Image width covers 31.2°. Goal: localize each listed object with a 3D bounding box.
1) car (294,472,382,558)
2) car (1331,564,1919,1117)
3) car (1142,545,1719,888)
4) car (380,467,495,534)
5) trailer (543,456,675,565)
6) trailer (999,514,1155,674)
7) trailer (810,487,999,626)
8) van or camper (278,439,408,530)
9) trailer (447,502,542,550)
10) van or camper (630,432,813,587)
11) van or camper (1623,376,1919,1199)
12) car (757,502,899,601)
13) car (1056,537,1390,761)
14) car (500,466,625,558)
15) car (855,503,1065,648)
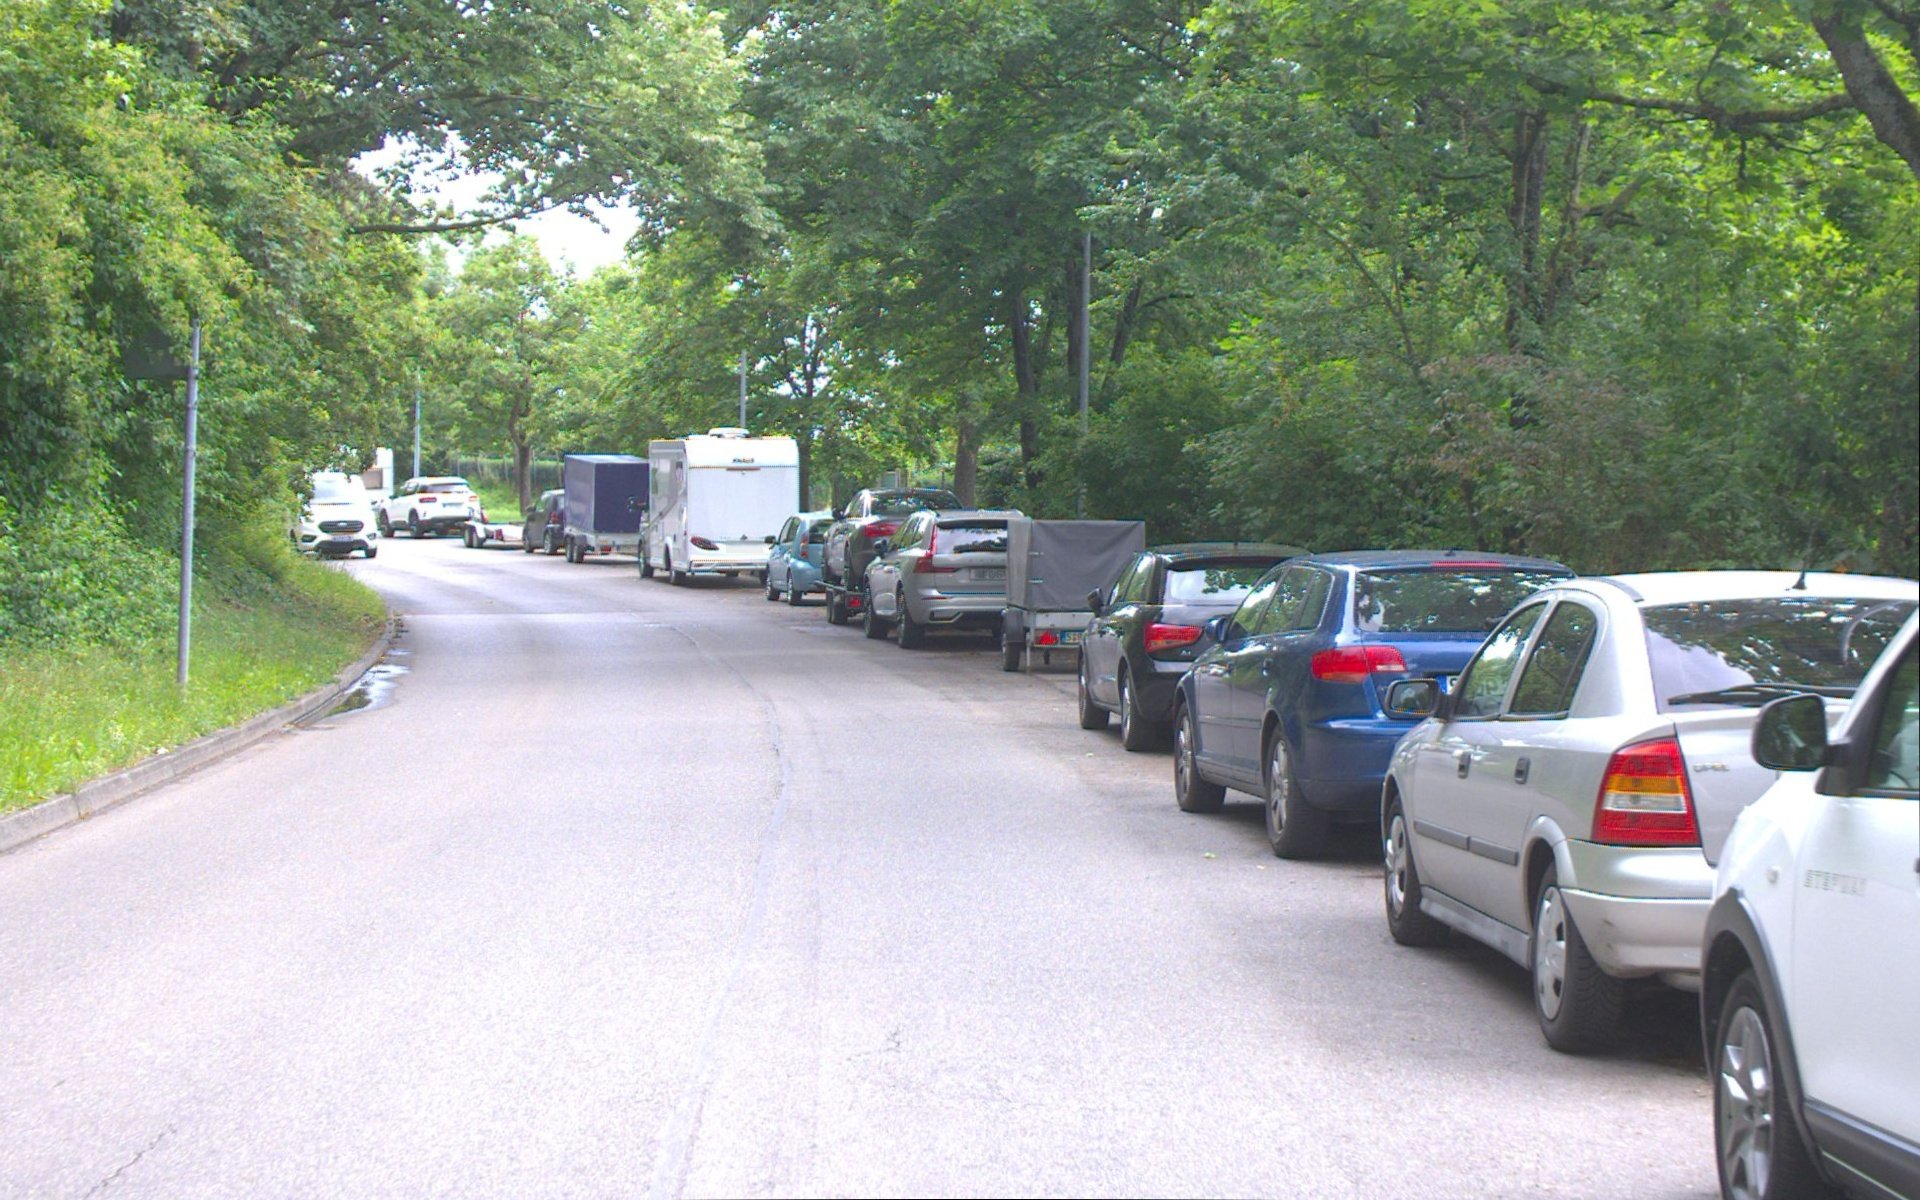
[{"bbox_3d":[-14.945,-2.061,82.749,1.947,1.977,4.503,1,2,-9],"label":"car"},{"bbox_3d":[2.492,0.658,11.609,1.812,1.432,4.243,2,1,-2],"label":"car"},{"bbox_3d":[2.221,0.487,17.531,1.847,1.469,4.480,1,1,-6],"label":"car"},{"bbox_3d":[-14.584,-2.784,95.779,2.034,1.797,4.084,-1,2,-26],"label":"car"},{"bbox_3d":[-7.991,-2.035,77.930,1.993,2.390,4.001,0,2,-21],"label":"trailer"},{"bbox_3d":[1.192,-0.085,35.796,1.278,1.579,2.461,1,1,-5],"label":"trailer"},{"bbox_3d":[-0.847,-0.661,48.192,1.978,1.805,5.150,0,2,-8],"label":"trailer"},{"bbox_3d":[-18.617,-3.510,103.523,2.526,2.688,4.576,-1,3,-28],"label":"van or camper"},{"bbox_3d":[-11.790,-1.877,86.901,1.651,1.083,4.002,-2,3,-18],"label":"trailer"},{"bbox_3d":[-4.772,-1.781,67.647,2.481,2.866,6.892,1,2,-13],"label":"van or camper"},{"bbox_3d":[2.532,0.548,5.925,1.802,1.831,4.321,1,0,-2],"label":"van or camper"},{"bbox_3d":[-2.242,-0.833,57.468,1.799,1.556,3.837,0,2,-11],"label":"car"},{"bbox_3d":[1.818,0.295,24.942,1.720,1.448,3.918,1,1,-6],"label":"car"},{"bbox_3d":[-9.655,-2.158,83.287,1.993,2.018,4.002,-3,4,-22],"label":"car"},{"bbox_3d":[-0.062,-0.291,42.055,1.791,1.664,4.503,0,0,-10],"label":"car"}]
